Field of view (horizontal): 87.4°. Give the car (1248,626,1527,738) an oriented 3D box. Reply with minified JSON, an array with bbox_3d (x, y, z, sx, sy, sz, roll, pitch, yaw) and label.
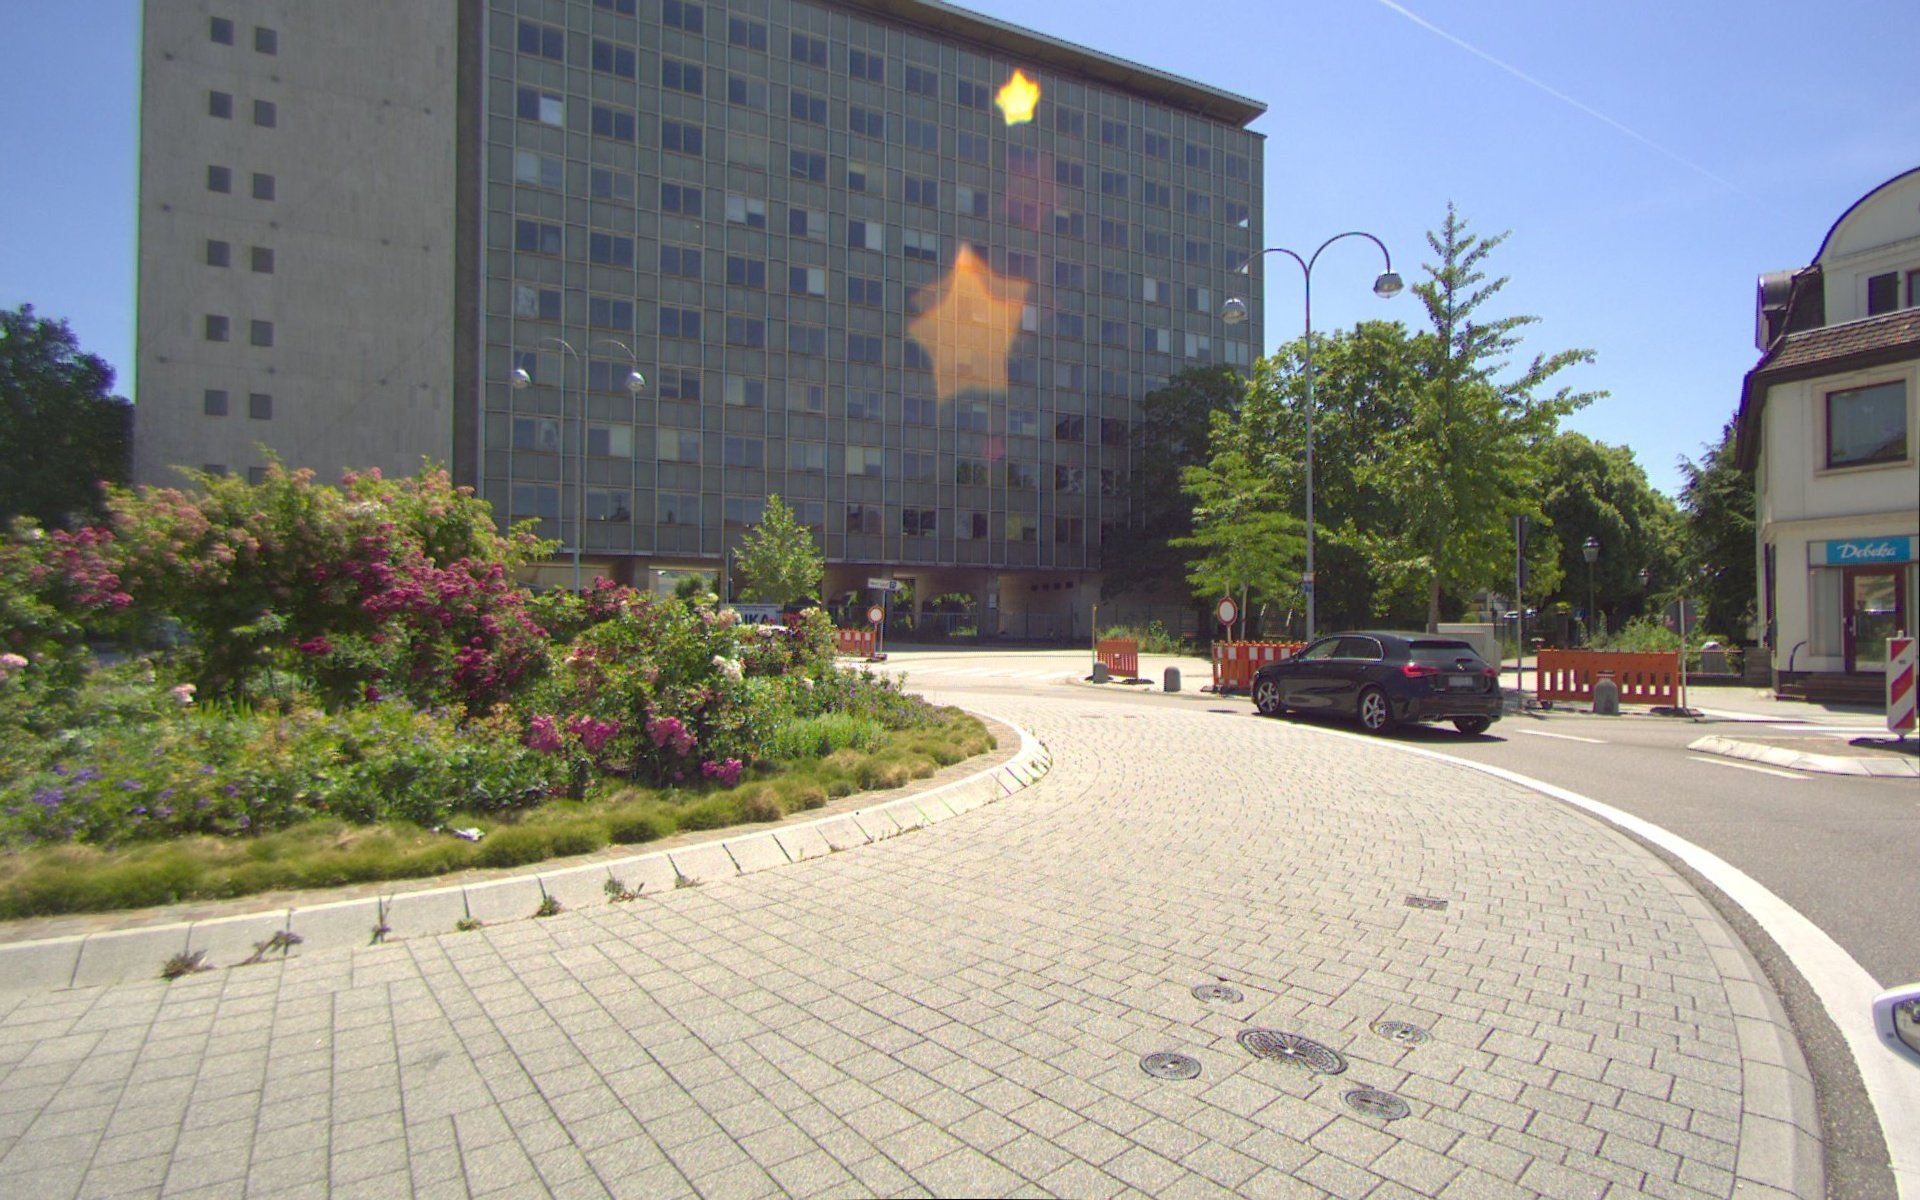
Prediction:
[{"bbox_3d":[6.248,1.137,15.233,1.926,1.446,3.990,1,-1,-13],"label":"car"}]

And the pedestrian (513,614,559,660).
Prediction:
[{"bbox_3d":[-14.998,1.322,35.582,1.258,1.606,0.948,1,-2,-6],"label":"pedestrian"}]

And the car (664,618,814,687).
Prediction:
[{"bbox_3d":[-5.784,1.448,26.689,1.759,1.617,3.916,-5,-6,28],"label":"car"}]
